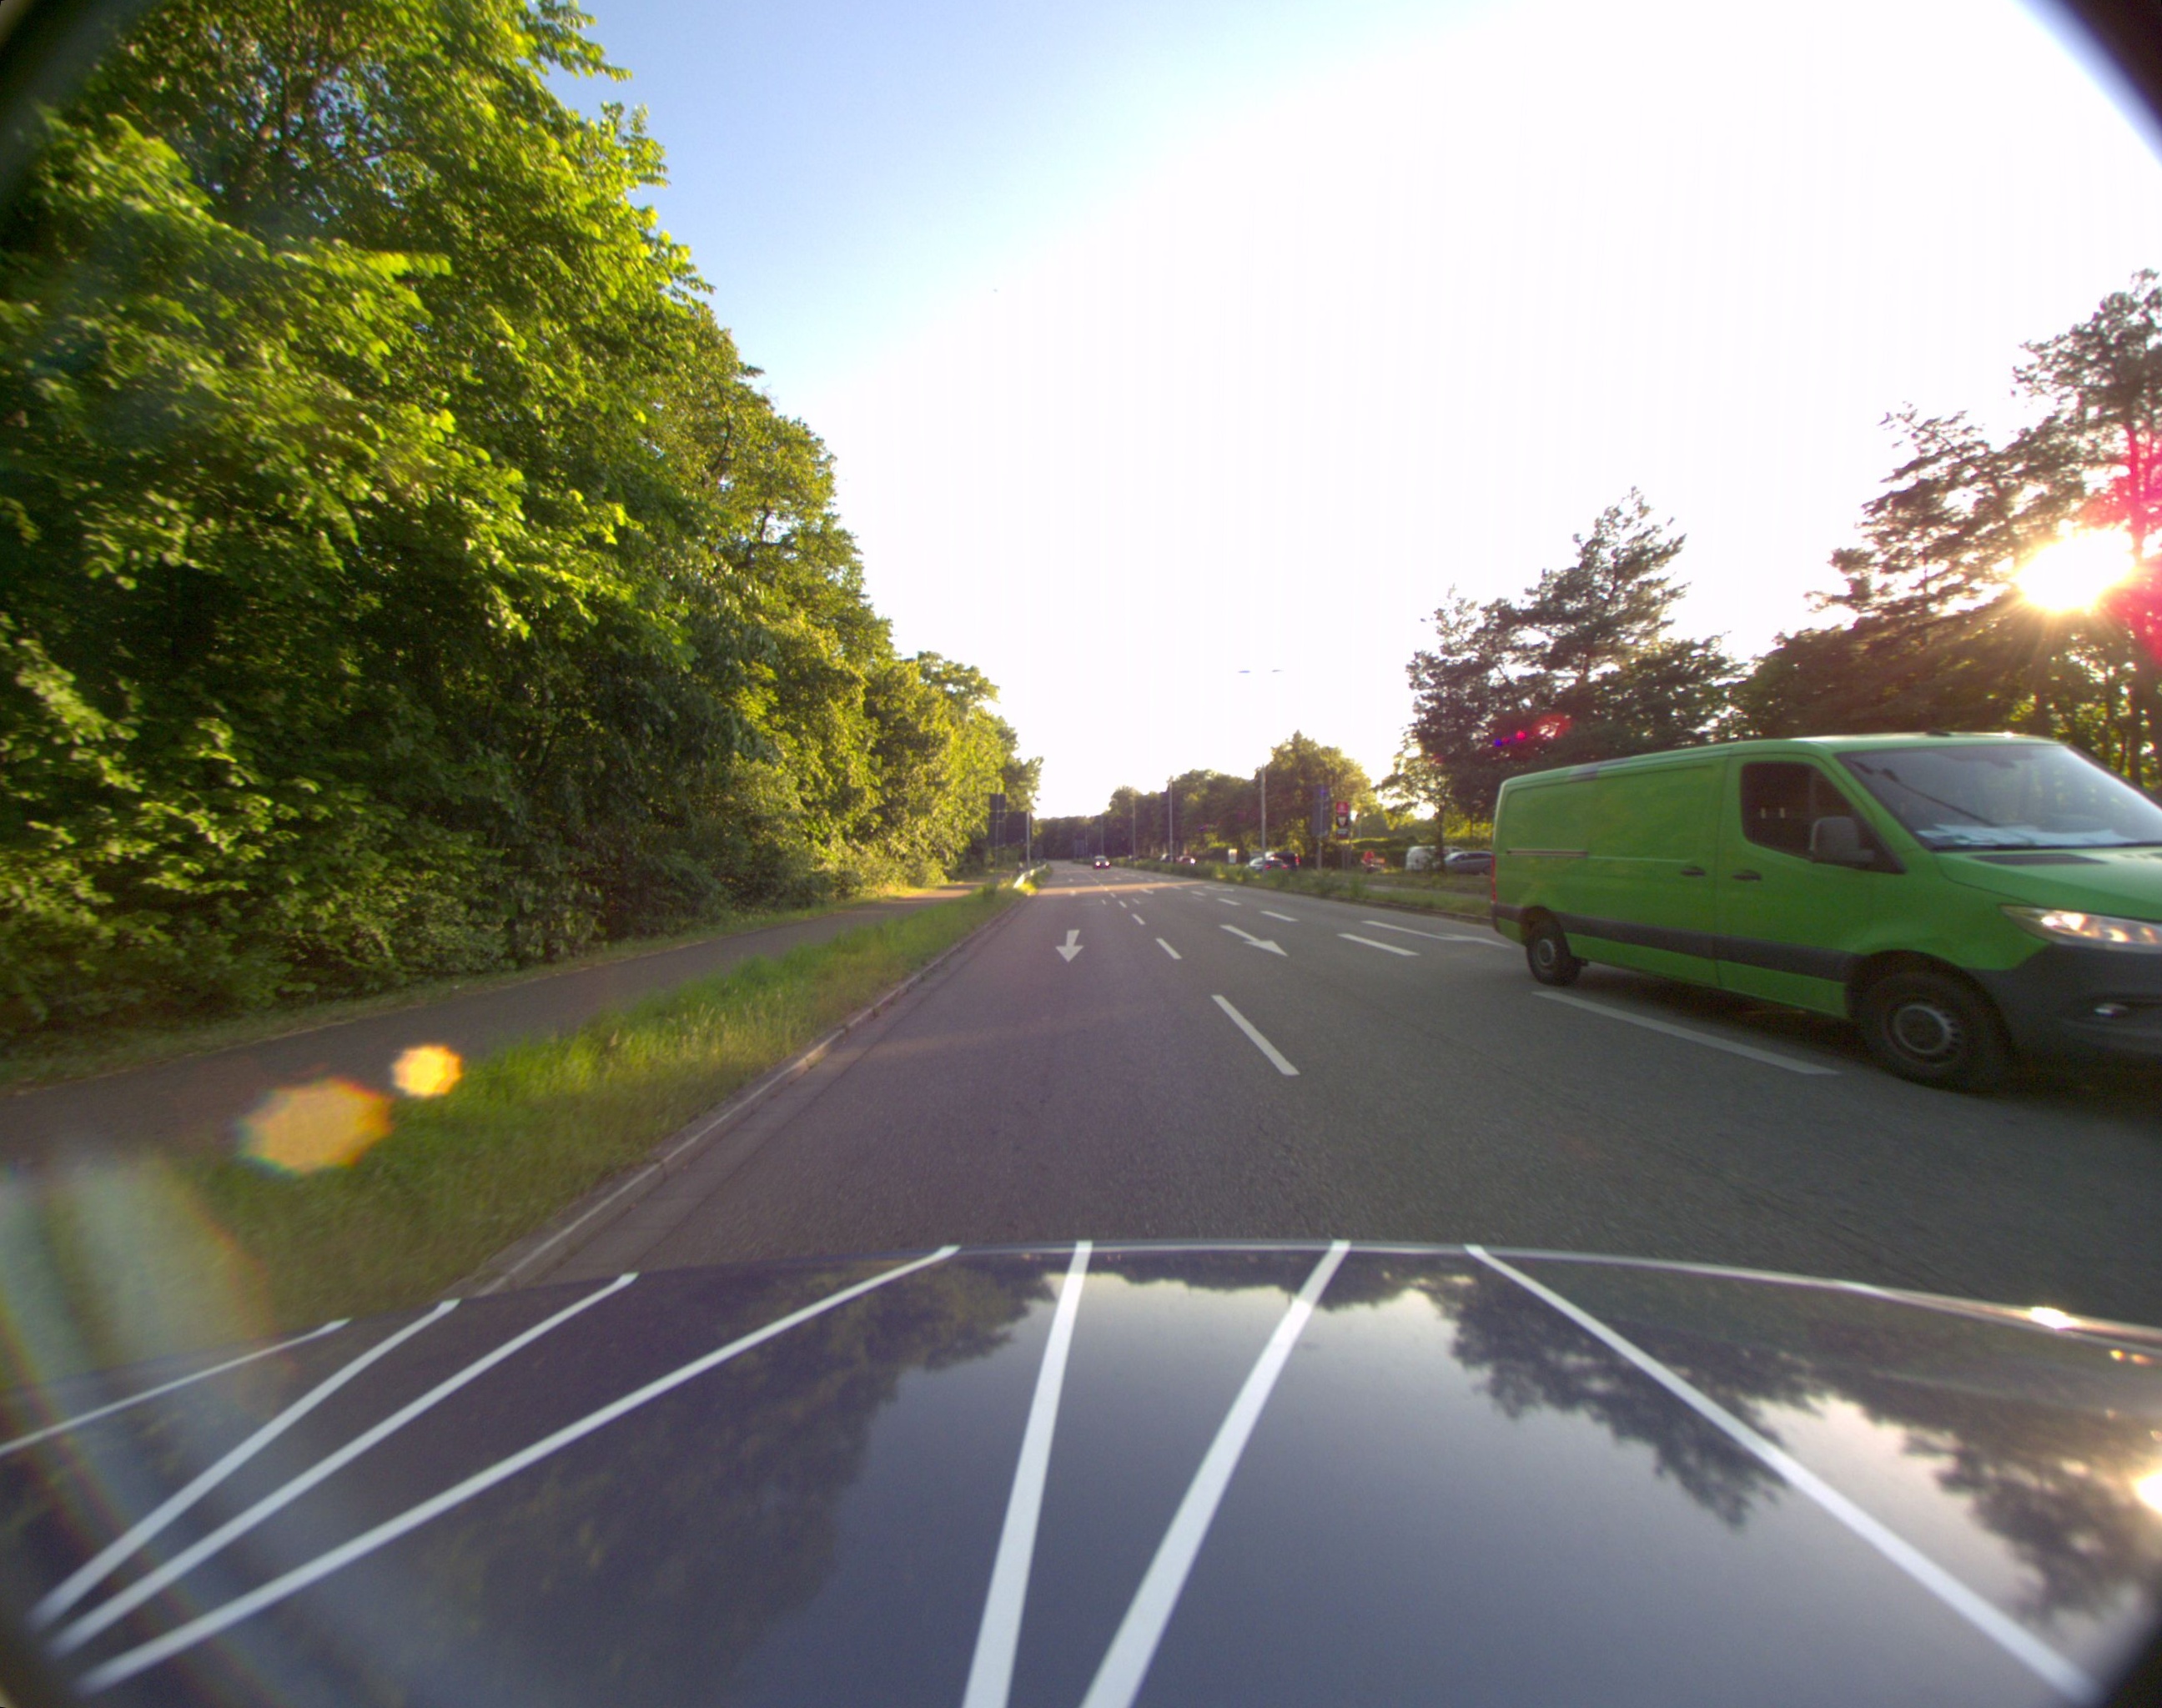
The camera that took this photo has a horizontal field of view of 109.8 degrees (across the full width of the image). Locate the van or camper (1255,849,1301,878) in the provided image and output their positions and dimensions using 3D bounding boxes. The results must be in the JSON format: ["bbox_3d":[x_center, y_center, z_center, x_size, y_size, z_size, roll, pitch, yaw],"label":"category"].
[{"bbox_3d":[14.106,0.654,54.675,1.999,2.002,4.577,-1,0,-2],"label":"van or camper"}]

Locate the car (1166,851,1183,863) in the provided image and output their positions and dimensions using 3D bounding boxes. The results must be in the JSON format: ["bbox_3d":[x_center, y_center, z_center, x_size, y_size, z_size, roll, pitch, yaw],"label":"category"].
[{"bbox_3d":[12.902,0.454,104.792,1.760,1.532,3.999,-2,1,0],"label":"car"}]

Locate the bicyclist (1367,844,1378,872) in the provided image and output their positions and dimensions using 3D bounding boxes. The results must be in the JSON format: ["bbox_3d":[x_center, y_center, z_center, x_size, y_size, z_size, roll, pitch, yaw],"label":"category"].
[{"bbox_3d":[19.533,0.282,50.888,0.459,1.863,0.618,0,1,-2],"label":"bicyclist"}]

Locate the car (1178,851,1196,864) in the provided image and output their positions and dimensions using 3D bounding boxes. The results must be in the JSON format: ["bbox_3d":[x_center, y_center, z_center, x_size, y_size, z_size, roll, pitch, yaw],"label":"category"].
[{"bbox_3d":[13.480,0.433,96.869,1.760,1.532,3.999,-2,1,0],"label":"car"}]

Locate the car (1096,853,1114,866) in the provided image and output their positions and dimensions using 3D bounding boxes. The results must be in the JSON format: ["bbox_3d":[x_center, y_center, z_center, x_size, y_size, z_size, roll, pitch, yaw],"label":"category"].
[{"bbox_3d":[2.964,0.705,95.009,1.999,1.543,3.999,-1,0,-1],"label":"car"}]

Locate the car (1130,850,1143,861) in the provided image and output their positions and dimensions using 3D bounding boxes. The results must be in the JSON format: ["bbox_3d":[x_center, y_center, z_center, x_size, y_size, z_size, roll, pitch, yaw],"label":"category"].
[{"bbox_3d":[8.652,0.182,118.396,1.760,1.532,3.999,-2,1,0],"label":"car"}]

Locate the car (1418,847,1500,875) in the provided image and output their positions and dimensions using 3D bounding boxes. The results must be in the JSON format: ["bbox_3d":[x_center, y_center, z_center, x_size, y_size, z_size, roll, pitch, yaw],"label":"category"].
[{"bbox_3d":[25.111,0.464,50.548,4.498,1.787,1.909,0,0,-1],"label":"car"}]

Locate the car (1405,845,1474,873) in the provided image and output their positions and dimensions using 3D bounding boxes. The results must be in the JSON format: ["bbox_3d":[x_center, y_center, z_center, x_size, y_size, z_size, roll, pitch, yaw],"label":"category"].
[{"bbox_3d":[25.246,0.334,53.588,3.997,1.932,1.766,0,0,-1],"label":"car"}]

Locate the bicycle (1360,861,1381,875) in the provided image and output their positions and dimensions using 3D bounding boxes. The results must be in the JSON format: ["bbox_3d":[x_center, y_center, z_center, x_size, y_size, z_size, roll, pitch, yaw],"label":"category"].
[{"bbox_3d":[19.424,0.933,50.978,0.493,0.928,2.044,-1,0,-3],"label":"bicycle"}]

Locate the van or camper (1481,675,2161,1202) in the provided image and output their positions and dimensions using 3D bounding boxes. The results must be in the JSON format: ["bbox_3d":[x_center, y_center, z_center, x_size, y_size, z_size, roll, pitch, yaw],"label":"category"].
[{"bbox_3d":[5.881,0.382,6.230,1.999,2.407,5.895,-1,0,-1],"label":"van or camper"}]

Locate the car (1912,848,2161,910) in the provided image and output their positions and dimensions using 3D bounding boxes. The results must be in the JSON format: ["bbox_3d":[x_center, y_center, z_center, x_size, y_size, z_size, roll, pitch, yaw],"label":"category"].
[{"bbox_3d":[26.829,0.612,21.209,1.999,1.539,4.709,0,0,-3],"label":"car"}]

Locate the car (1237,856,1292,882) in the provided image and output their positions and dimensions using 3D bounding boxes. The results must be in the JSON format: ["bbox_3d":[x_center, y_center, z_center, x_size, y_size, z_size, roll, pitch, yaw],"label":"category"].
[{"bbox_3d":[11.336,0.898,47.323,1.999,1.486,4.510,-1,0,-5],"label":"car"}]
